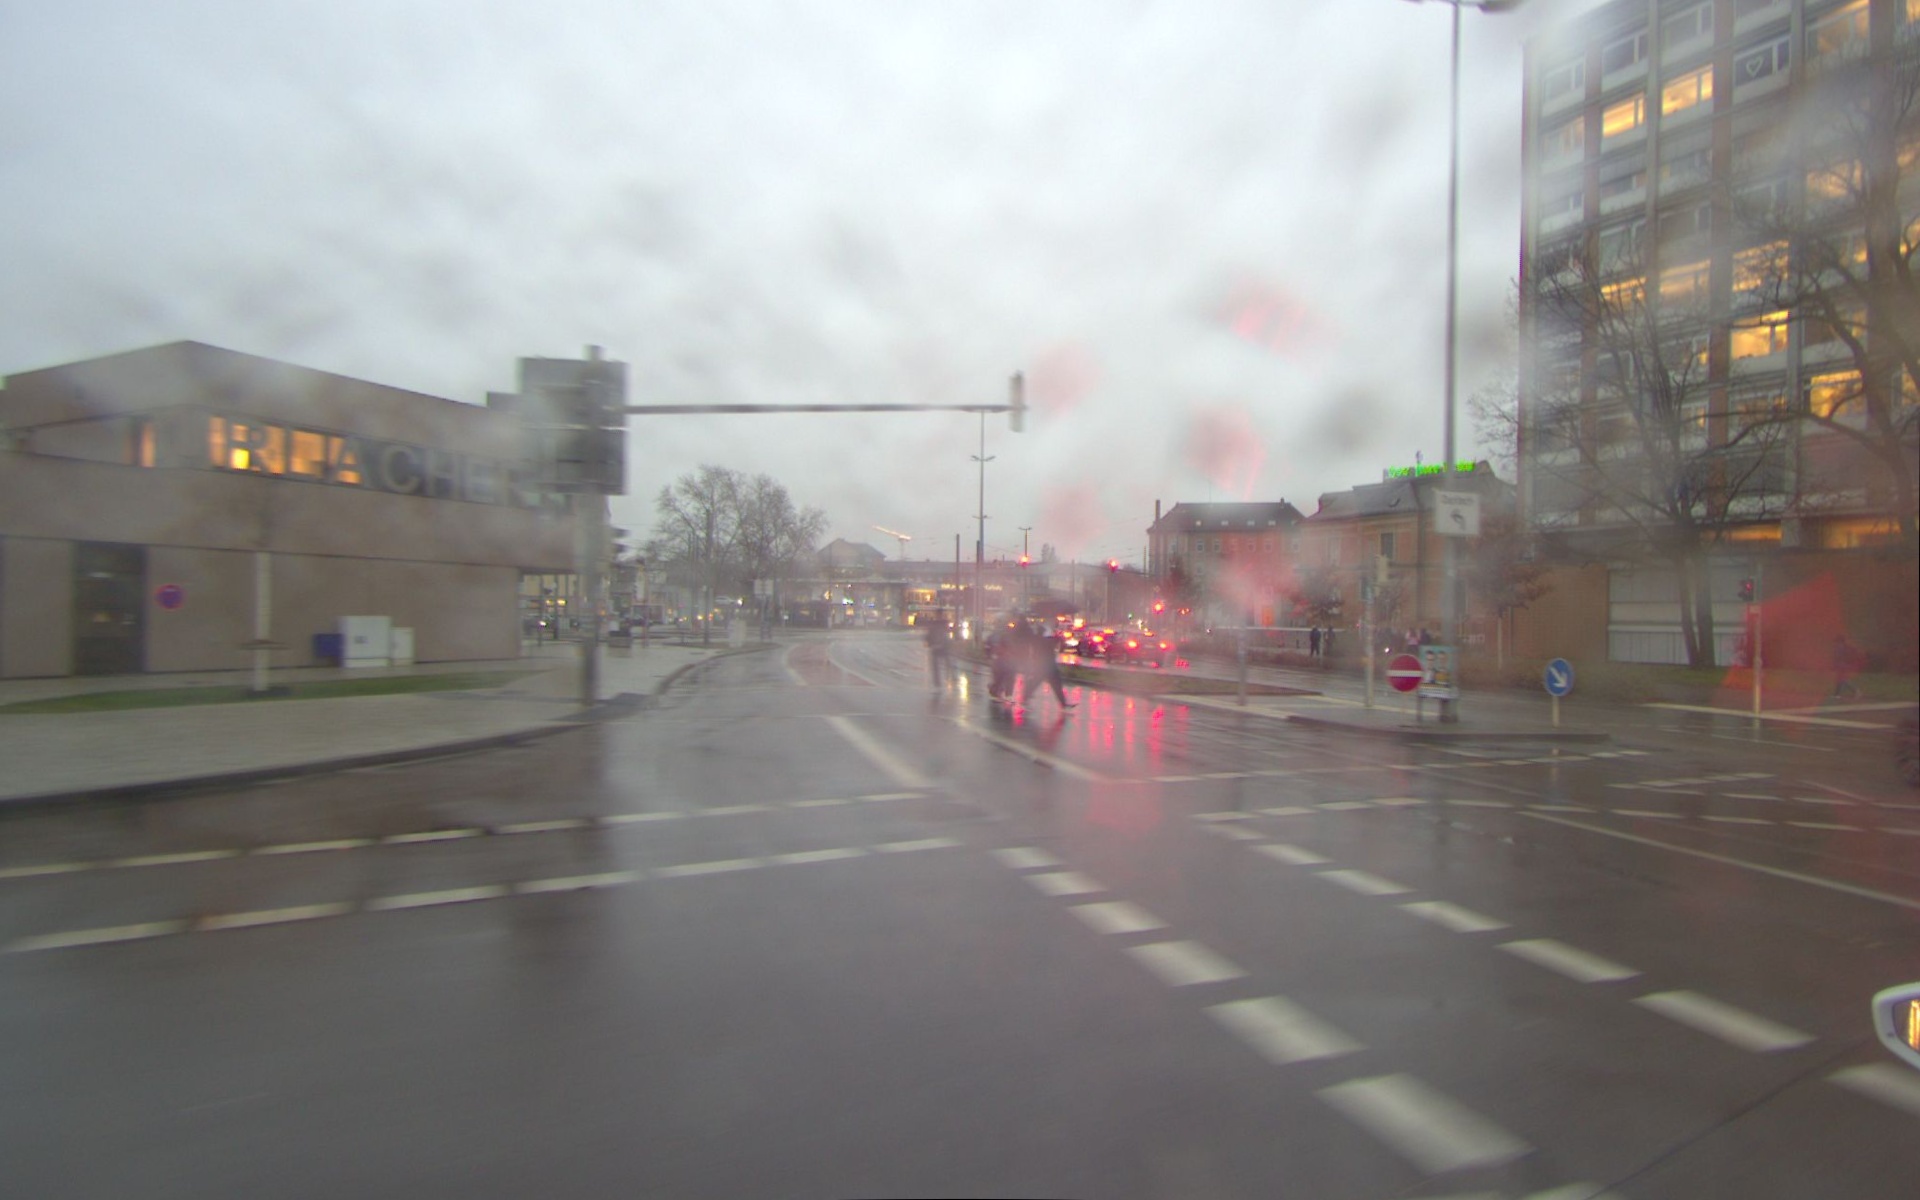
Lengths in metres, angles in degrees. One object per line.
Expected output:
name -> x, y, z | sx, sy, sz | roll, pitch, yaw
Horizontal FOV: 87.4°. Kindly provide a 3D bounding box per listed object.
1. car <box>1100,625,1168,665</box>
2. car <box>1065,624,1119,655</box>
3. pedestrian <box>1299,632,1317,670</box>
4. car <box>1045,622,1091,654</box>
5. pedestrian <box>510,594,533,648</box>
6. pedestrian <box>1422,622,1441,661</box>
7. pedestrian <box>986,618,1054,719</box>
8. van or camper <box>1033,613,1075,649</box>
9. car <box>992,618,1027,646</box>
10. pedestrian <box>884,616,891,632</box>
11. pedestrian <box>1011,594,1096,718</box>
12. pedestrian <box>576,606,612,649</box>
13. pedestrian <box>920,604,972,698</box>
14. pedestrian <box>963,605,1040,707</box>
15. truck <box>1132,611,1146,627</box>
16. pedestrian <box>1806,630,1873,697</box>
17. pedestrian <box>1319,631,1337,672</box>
car -> 7.442, 1.905, 43.247 | 1.675, 1.501, 3.866 | 4, -1, -8
car -> 6.570, 1.956, 50.354 | 1.634, 1.422, 4.116 | 3, -2, -7
pedestrian -> 18.368, 2.679, 53.042 | 0.794, 1.956, 0.760 | 2, 2, 22
car -> 6.065, 2.111, 56.970 | 1.757, 1.621, 4.539 | 3, -1, -4
pedestrian -> -14.921, 0.711, 34.190 | 0.652, 1.791, 0.829 | 1, -1, -21
pedestrian -> 20.874, 1.818, 44.504 | 0.706, 1.710, 0.760 | 0, -1, 22
pedestrian -> 1.267, 1.426, 21.231 | 1.097, 2.032, 0.840 | 1, 2, -33
van or camper -> 6.090, 2.016, 65.785 | 2.166, 2.137, 4.987 | 2, -1, -1
car -> 3.302, 2.127, 67.739 | 1.854, 1.795, 3.998 | 2, -1, -3
pedestrian -> -8.468, 2.774, 117.726 | 0.818, 1.845, 0.696 | 0, -1, 1
pedestrian -> 1.633, 0.967, 17.703 | 1.194, 2.077, 1.033 | 1, 2, -13
pedestrian -> -17.017, 1.266, 46.707 | 1.043, 1.944, 1.122 | 0, -1, 28
pedestrian -> -0.317, 1.060, 21.460 | 1.015, 1.883, 1.234 | 1, 2, -4
pedestrian -> 0.816, 1.057, 19.682 | 1.027, 1.883, 1.057 | 0, 2, -41
truck -> 31.042, 3.312, 174.513 | 1.960, 2.727, 5.118 | 0, -1, 15
pedestrian -> 23.428, 1.669, 26.767 | 0.795, 1.710, 1.069 | -1, -1, -9
pedestrian -> 19.301, 2.684, 52.724 | 0.794, 2.041, 0.760 | 2, 2, 22
